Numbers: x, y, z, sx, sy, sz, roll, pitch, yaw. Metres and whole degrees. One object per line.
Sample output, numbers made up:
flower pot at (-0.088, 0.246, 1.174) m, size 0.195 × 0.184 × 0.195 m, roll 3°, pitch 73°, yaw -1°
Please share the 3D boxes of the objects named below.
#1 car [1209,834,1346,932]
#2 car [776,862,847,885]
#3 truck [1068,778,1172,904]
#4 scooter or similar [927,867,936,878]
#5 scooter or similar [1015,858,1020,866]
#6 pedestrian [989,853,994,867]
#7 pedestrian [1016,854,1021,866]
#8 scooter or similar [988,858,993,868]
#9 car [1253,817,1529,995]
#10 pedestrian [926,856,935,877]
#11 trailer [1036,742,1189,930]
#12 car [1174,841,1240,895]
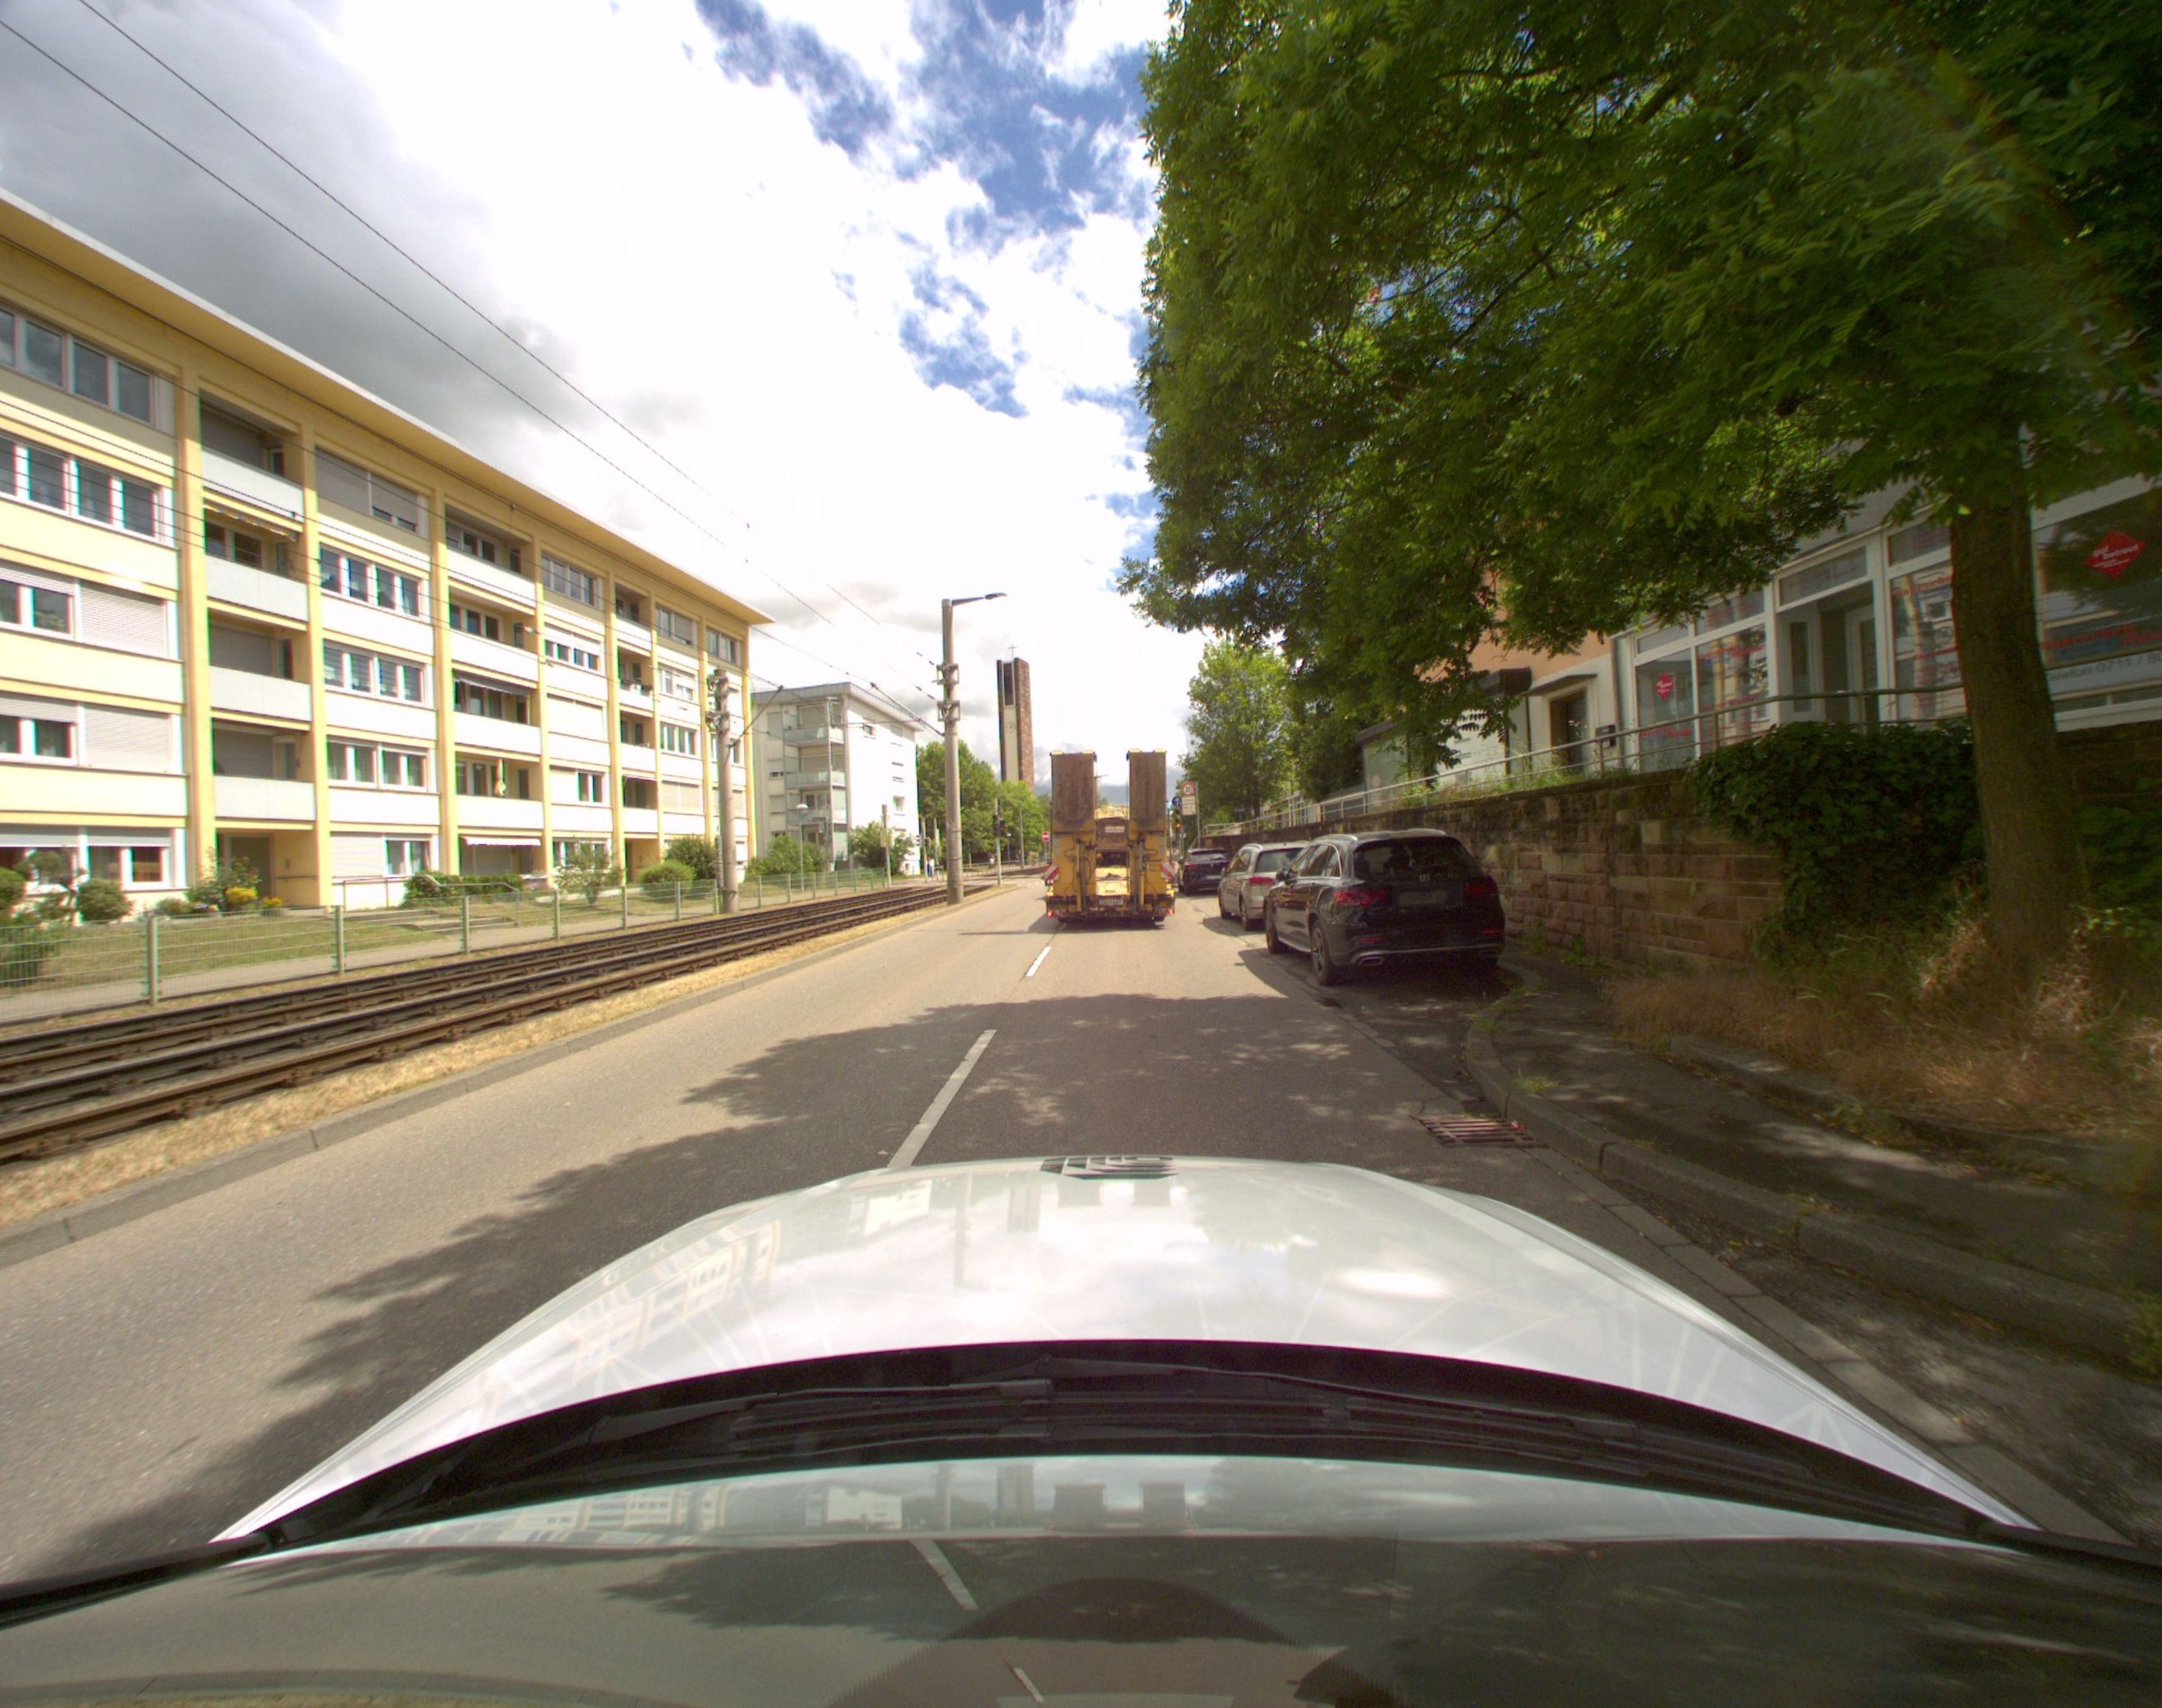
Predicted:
car at (3.792, 0.501, 16.438) m, size 1.783 × 1.617 × 4.251 m, roll -3°, pitch 0°, yaw 2°
car at (-17.937, 1.293, 54.236) m, size 3.961 × 1.345 × 1.907 m, roll -2°, pitch 0°, yaw 10°
truck at (1.260, -0.378, 25.648) m, size 2.930 × 3.572 × 4.881 m, roll -1°, pitch 0°, yaw 3°
scooter or similar at (-11.096, 1.367, 60.467) m, size 0.435 × 0.747 × 0.475 m, roll -2°, pitch 0°, yaw 8°
scooter or similar at (-8.167, 0.993, 104.720) m, size 0.503 × 0.971 × 0.646 m, roll 0°, pitch 0°, yaw 2°
pedestrian at (-9.759, 0.690, 88.939) m, size 0.346 × 1.537 × 0.558 m, roll -2°, pitch 0°, yaw 6°
pedestrian at (-8.122, 0.726, 105.375) m, size 0.561 × 1.513 × 0.646 m, roll 0°, pitch 0°, yaw 2°
scooter or similar at (-9.776, 0.926, 88.305) m, size 0.336 × 1.057 × 0.689 m, roll -2°, pitch 0°, yaw 6°
car at (3.492, 0.503, 10.176) m, size 1.783 × 1.617 × 4.450 m, roll -4°, pitch 0°, yaw 2°
pedestrian at (-11.271, 0.940, 60.971) m, size 0.435 × 1.581 × 0.475 m, roll -2°, pitch 0°, yaw 7°
trailer at (0.894, -0.356, 20.081) m, size 2.932 × 3.601 × 8.692 m, roll 0°, pitch 0°, yaw 4°
car at (4.305, 0.434, 28.356) m, size 1.843 × 1.639 × 4.004 m, roll -4°, pitch 0°, yaw 4°
